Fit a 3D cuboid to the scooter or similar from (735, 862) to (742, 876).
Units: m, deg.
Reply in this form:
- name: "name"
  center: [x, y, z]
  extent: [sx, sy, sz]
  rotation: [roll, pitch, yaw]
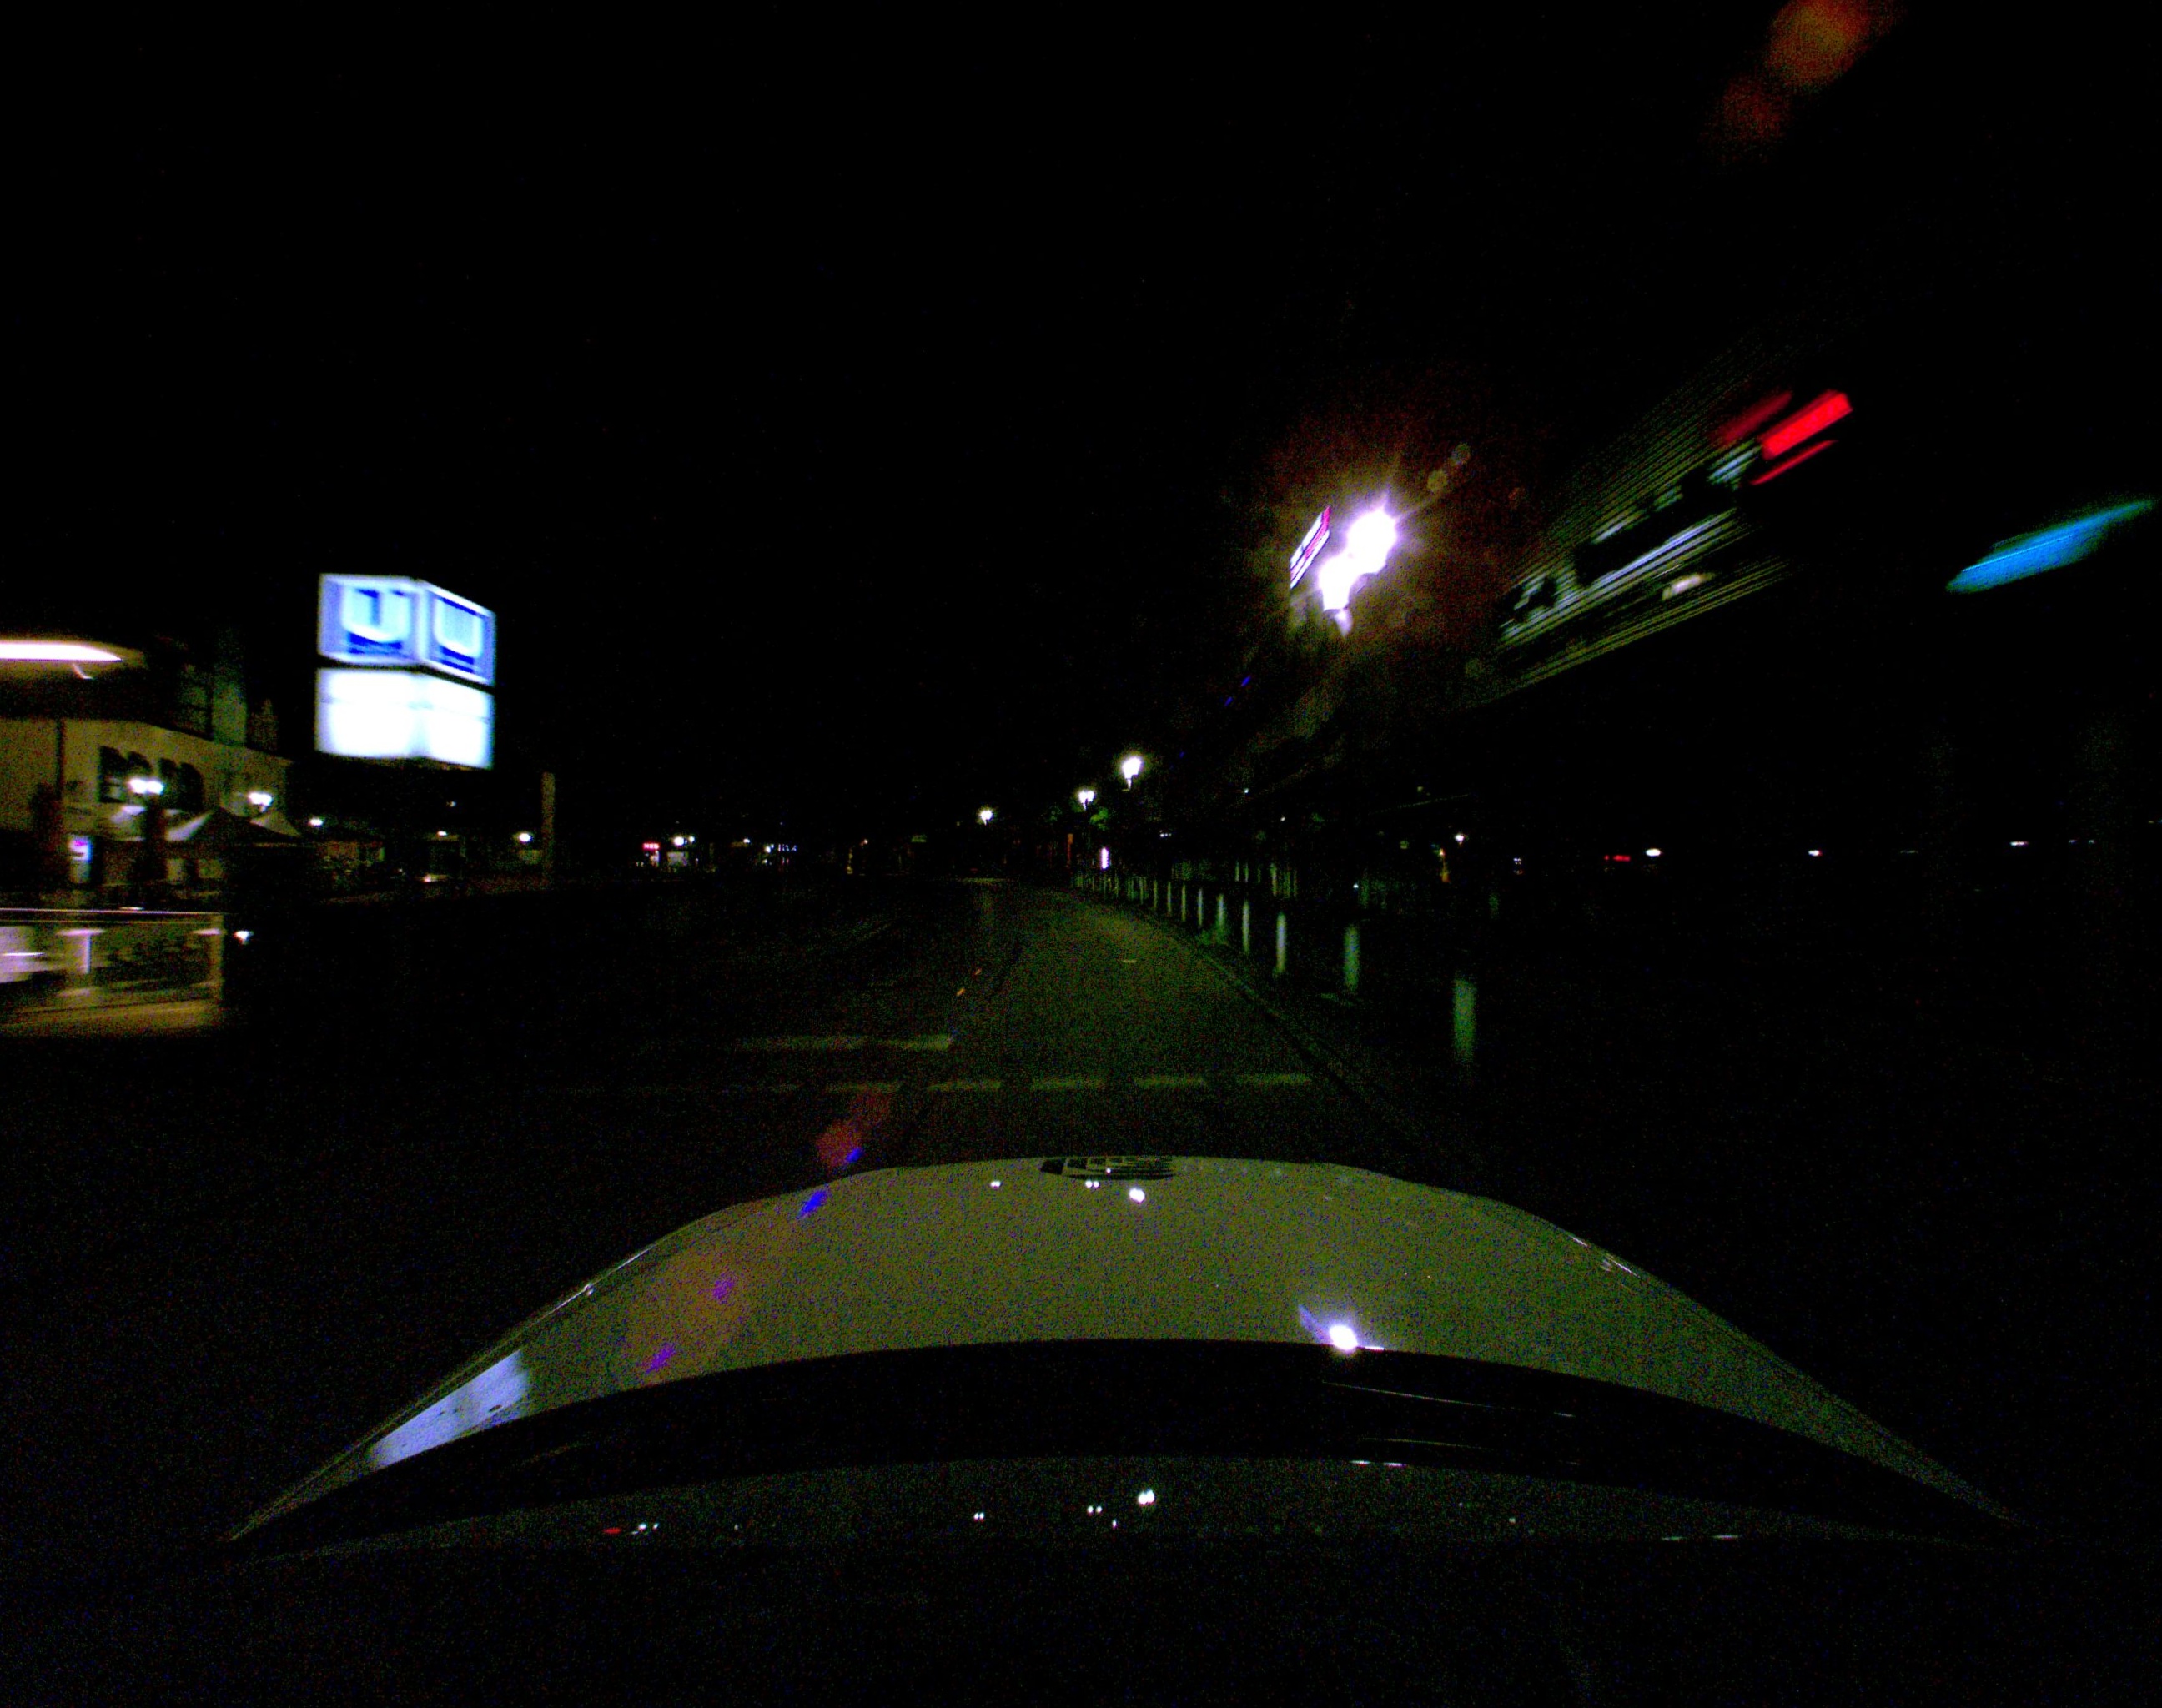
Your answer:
- name: "scooter or similar"
  center: [-32.092, 1.434, 76.296]
  extent: [0.433, 1.284, 1.135]
  rotation: [-1, 1, -32]

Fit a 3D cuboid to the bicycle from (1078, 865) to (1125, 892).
- name: "bicycle"
  center: [0.819, 0.972, 32.578]
  extent: [1.757, 1.062, 0.650]
  rotation: [0, 0, -23]

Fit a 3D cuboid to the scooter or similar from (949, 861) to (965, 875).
- name: "scooter or similar"
  center: [-11.457, 1.271, 75.253]
  extent: [1.252, 1.227, 0.593]
  rotation: [2, 0, -26]

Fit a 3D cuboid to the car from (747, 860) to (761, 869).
- name: "car"
  center: [-58.367, 1.866, 145.302]
  extent: [1.721, 1.547, 3.502]
  rotation: [-1, 1, -33]

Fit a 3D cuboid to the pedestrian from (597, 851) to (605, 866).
- name: "pedestrian"
  center: [-48.817, 0.479, 82.872]
  extent: [0.475, 1.546, 0.463]
  rotation: [0, 0, 27]
